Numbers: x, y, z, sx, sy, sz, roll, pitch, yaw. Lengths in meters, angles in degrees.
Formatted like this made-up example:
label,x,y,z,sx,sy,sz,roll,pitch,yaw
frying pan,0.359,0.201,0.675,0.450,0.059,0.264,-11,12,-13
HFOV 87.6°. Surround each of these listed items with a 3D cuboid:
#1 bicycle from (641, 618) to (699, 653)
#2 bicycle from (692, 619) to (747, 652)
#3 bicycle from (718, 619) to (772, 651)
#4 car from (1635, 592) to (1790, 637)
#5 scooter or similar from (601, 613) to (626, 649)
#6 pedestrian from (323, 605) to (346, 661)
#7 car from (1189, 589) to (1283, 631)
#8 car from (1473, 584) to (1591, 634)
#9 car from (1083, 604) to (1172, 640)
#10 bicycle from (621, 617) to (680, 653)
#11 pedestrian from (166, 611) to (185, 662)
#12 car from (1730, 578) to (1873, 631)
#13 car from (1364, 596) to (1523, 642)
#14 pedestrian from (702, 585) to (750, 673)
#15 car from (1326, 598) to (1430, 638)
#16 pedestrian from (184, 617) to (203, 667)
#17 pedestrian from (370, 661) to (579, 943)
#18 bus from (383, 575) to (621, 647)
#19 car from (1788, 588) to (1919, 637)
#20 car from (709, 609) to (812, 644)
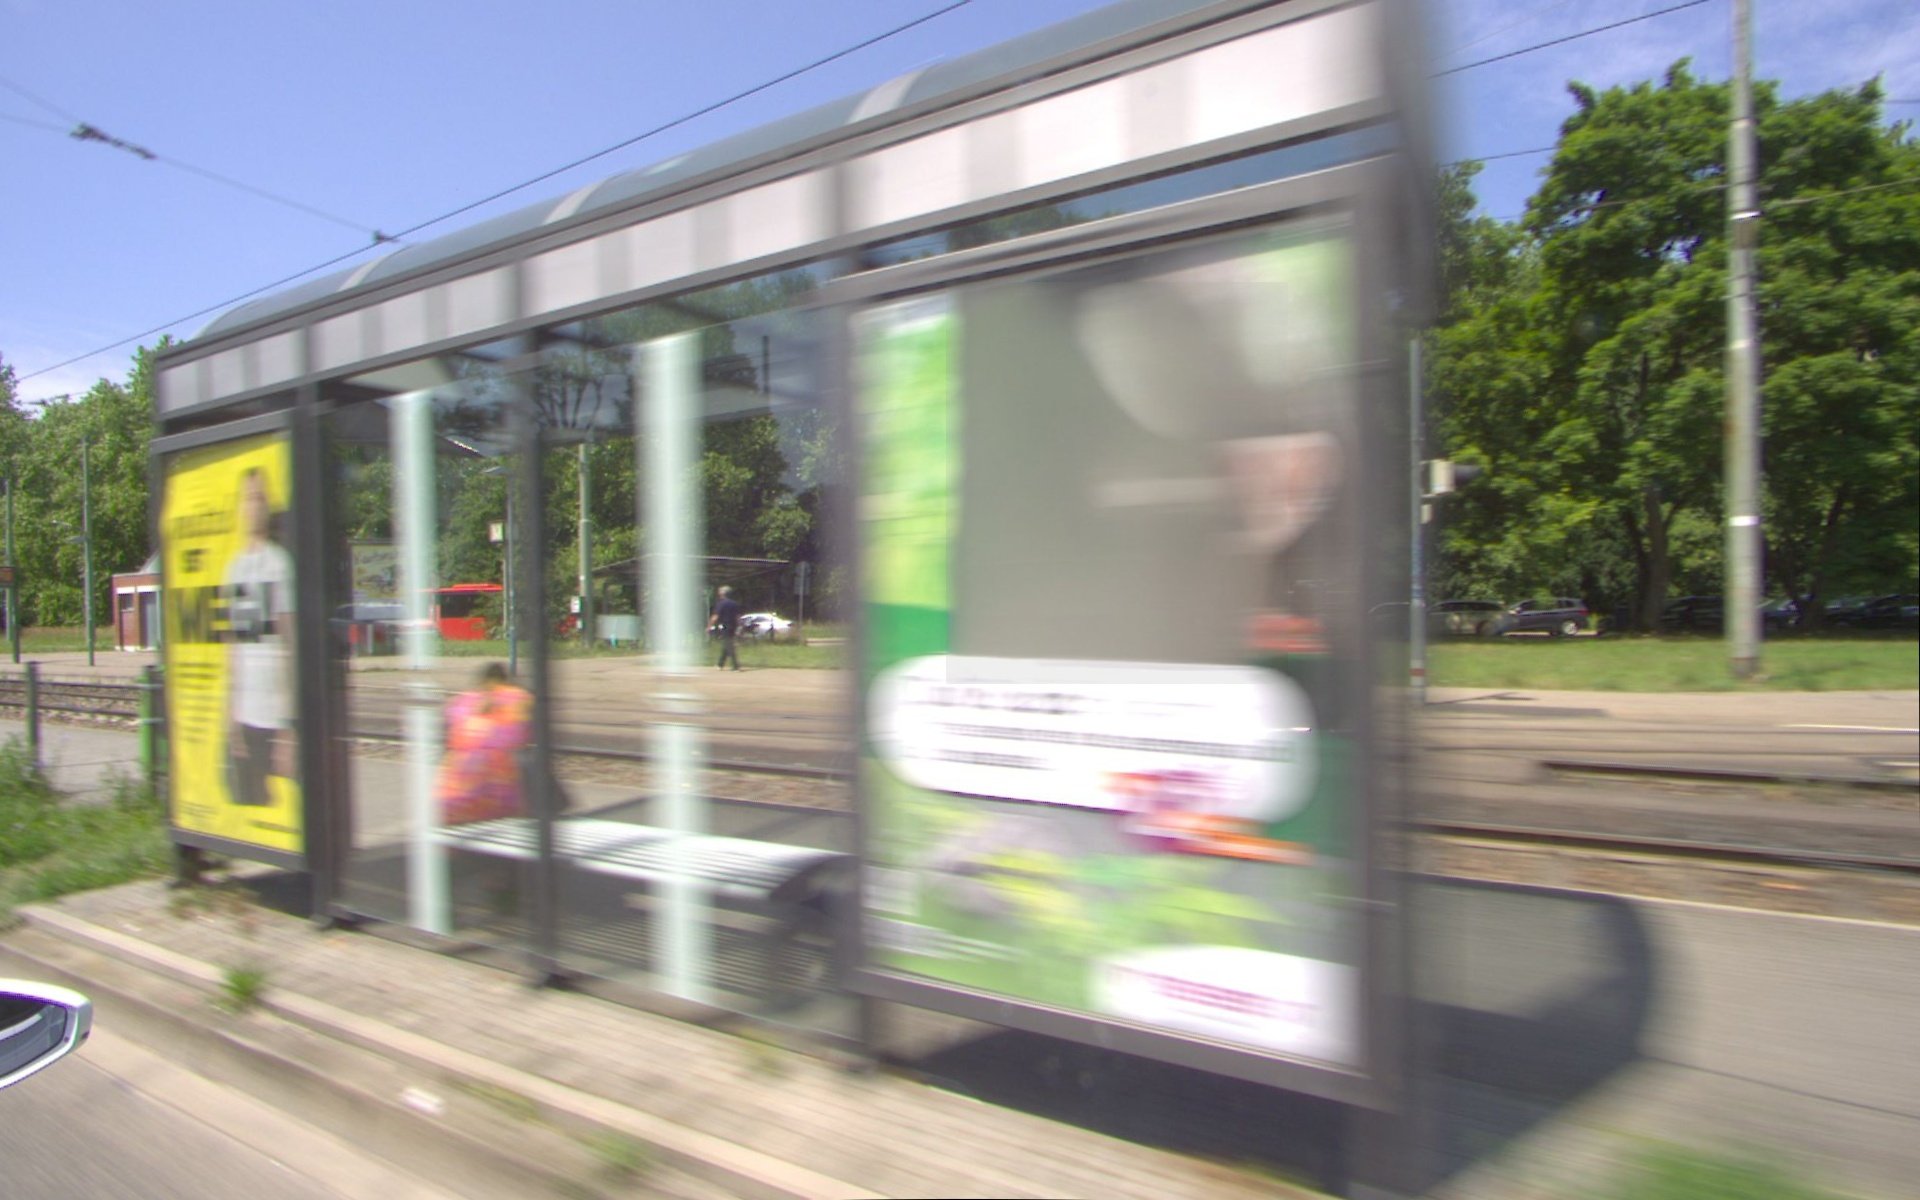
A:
label,x,y,z,sx,sy,sz,roll,pitch,yaw
bicycle,-9.915,1.198,34.209,2.159,1.102,0.596,1,1,32
bicycle,-8.727,1.271,36.305,2.159,1.102,0.596,1,1,32
bicycle,-8.005,1.300,37.228,2.159,1.102,0.596,1,1,32
car,26.303,0.497,35.140,3.870,1.441,1.957,-1,0,9
scooter or similar,-11.369,1.010,32.814,0.742,1.150,0.244,0,1,9
pedestrian,-20.500,1.091,32.834,0.730,1.796,0.380,-2,-2,34
car,12.384,0.474,45.160,3.924,1.794,1.999,-1,0,11
car,24.359,0.392,42.802,3.925,2.040,1.998,-1,0,13
car,7.722,1.009,45.972,3.925,1.531,1.886,-1,0,12
bicycle,-10.358,1.167,33.481,2.159,1.102,0.596,1,1,32
pedestrian,-25.745,1.204,32.871,0.439,1.667,0.359,-2,-2,34
car,34.091,0.219,40.678,3.923,2.039,2.000,-1,-2,9
car,17.876,0.705,37.251,4.962,1.632,2.123,-1,0,14
pedestrian,-4.884,0.593,20.927,0.648,1.788,0.704,-1,1,33
car,18.363,0.786,44.167,3.925,1.684,1.852,-1,0,13
pedestrian,-25.024,1.367,32.682,0.476,1.617,0.359,-2,-2,34
pedestrian,-2.061,0.807,4.272,0.571,1.053,0.574,-1,0,31
bus,-24.286,0.668,53.098,12.211,3.482,2.768,-1,-2,12
car,31.070,0.413,33.832,4.527,1.560,1.704,-1,0,9
car,-9.911,1.326,49.872,4.636,1.650,1.999,-1,0,11
